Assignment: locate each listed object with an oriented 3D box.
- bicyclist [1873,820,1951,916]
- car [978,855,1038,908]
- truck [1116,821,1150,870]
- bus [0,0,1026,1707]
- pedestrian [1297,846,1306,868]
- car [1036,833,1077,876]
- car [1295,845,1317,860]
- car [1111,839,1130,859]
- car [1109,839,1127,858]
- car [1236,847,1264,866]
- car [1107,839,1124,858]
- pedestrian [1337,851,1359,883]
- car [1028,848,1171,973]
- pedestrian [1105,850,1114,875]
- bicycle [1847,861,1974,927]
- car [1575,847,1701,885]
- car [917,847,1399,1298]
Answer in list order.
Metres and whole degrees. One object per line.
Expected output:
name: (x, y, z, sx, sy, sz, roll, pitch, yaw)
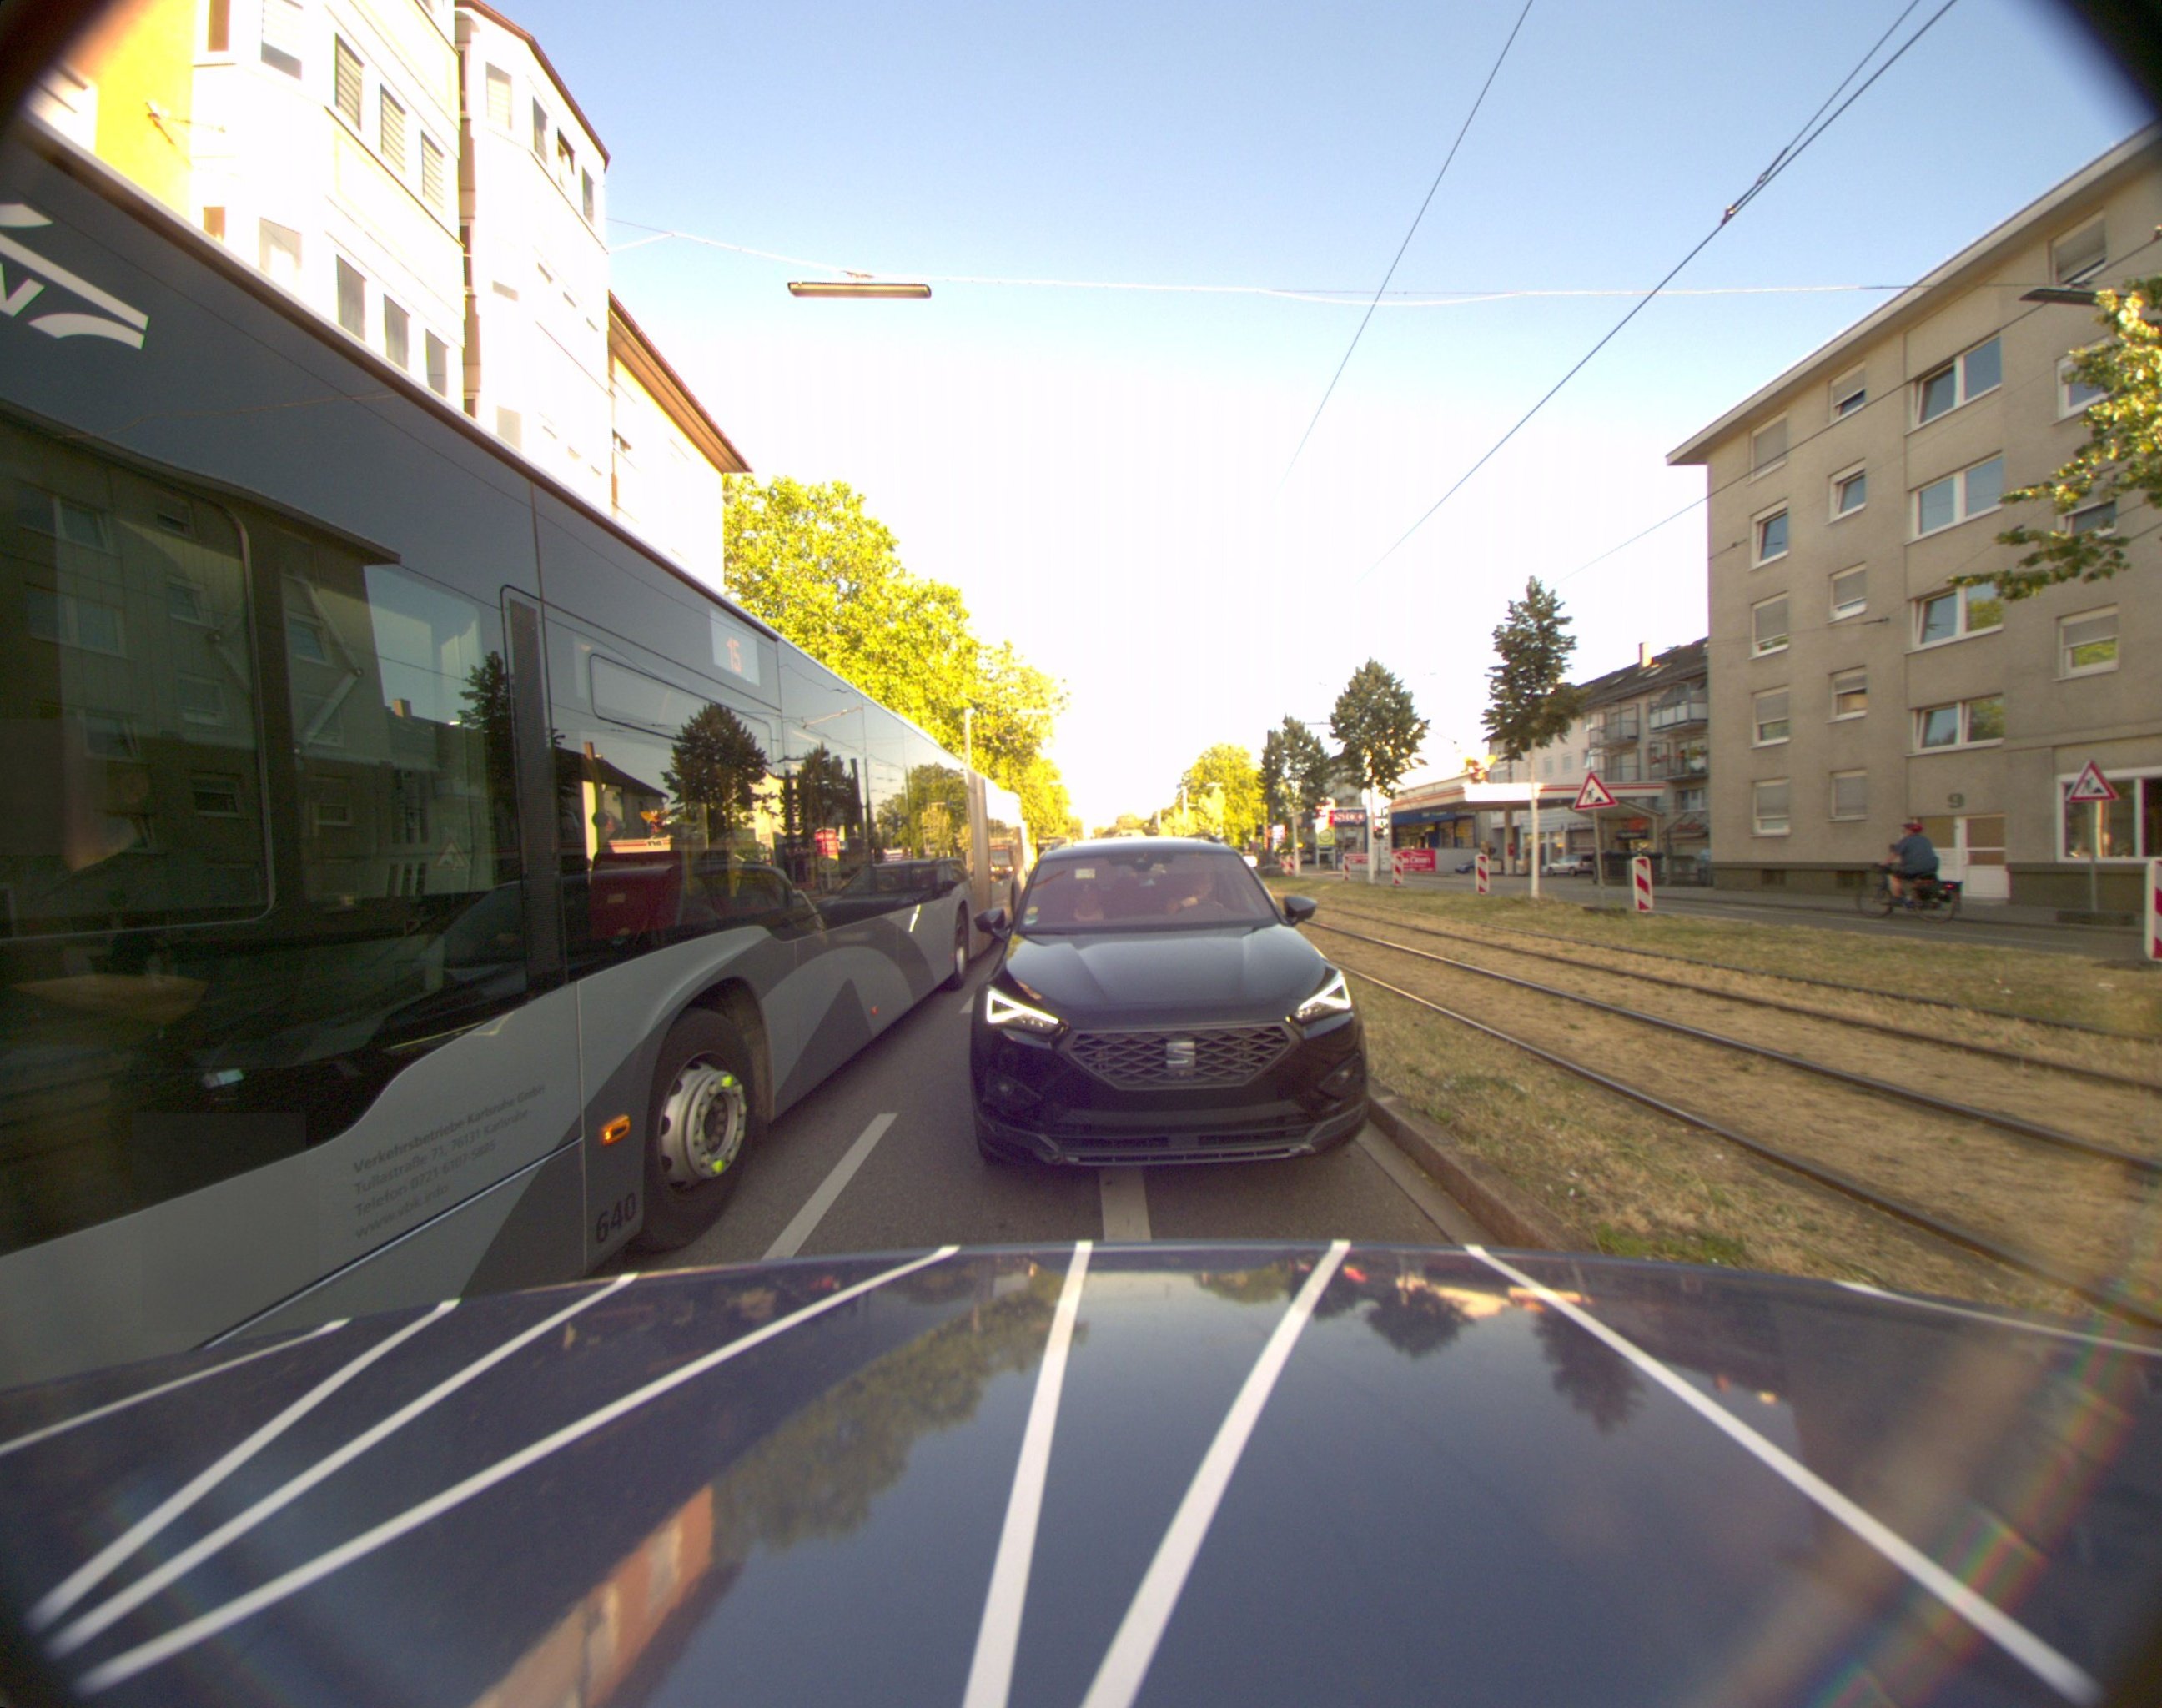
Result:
bicyclist: (16.724, 0.269, 15.308, 0.653, 1.871, 0.809, 0, 1, -3)
car: (-2.469, 0.891, 26.520, 1.750, 1.598, 3.823, -2, 1, -1)
truck: (4.300, -0.700, 64.533, 2.306, 3.798, 7.723, -2, 1, 1)
bus: (-2.799, 0.216, 9.047, 2.773, 3.131, 17.740, -2, 0, 1)
pedestrian: (20.515, 0.299, 70.770, 0.632, 2.002, 0.583, -2, 1, 2)
car: (-1.732, 0.020, 55.720, 2.681, 2.875, 5.452, -2, 1, 0)
car: (25.080, -0.220, 84.831, 1.781, 1.547, 4.002, -2, 1, 9)
car: (4.046, -0.533, 78.534, 1.767, 2.002, 3.791, -2, 1, 1)
car: (4.064, -0.590, 83.567, 1.767, 2.002, 3.791, -2, 1, 1)
car: (16.425, 0.235, 74.173, 1.998, 1.725, 4.394, -2, 1, 4)
car: (3.972, -0.636, 87.888, 1.767, 2.002, 3.791, -2, 1, 1)
pedestrian: (10.959, 0.544, 31.225, 0.664, 1.263, 0.581, -2, 0, 1)
car: (0.281, 0.787, 12.663, 1.998, 1.739, 4.000, 0, 0, 0)
pedestrian: (2.329, 0.660, 61.976, 0.625, 2.002, 0.695, -2, 0, 0)
bicycle: (16.739, 0.768, 15.406, 0.456, 1.250, 1.870, -1, 0, -2)
car: (22.766, 0.499, 31.157, 3.727, 1.460, 1.908, 0, -1, 0)
car: (0.315, 0.814, 4.837, 1.774, 1.667, 4.000, -1, 0, 1)
